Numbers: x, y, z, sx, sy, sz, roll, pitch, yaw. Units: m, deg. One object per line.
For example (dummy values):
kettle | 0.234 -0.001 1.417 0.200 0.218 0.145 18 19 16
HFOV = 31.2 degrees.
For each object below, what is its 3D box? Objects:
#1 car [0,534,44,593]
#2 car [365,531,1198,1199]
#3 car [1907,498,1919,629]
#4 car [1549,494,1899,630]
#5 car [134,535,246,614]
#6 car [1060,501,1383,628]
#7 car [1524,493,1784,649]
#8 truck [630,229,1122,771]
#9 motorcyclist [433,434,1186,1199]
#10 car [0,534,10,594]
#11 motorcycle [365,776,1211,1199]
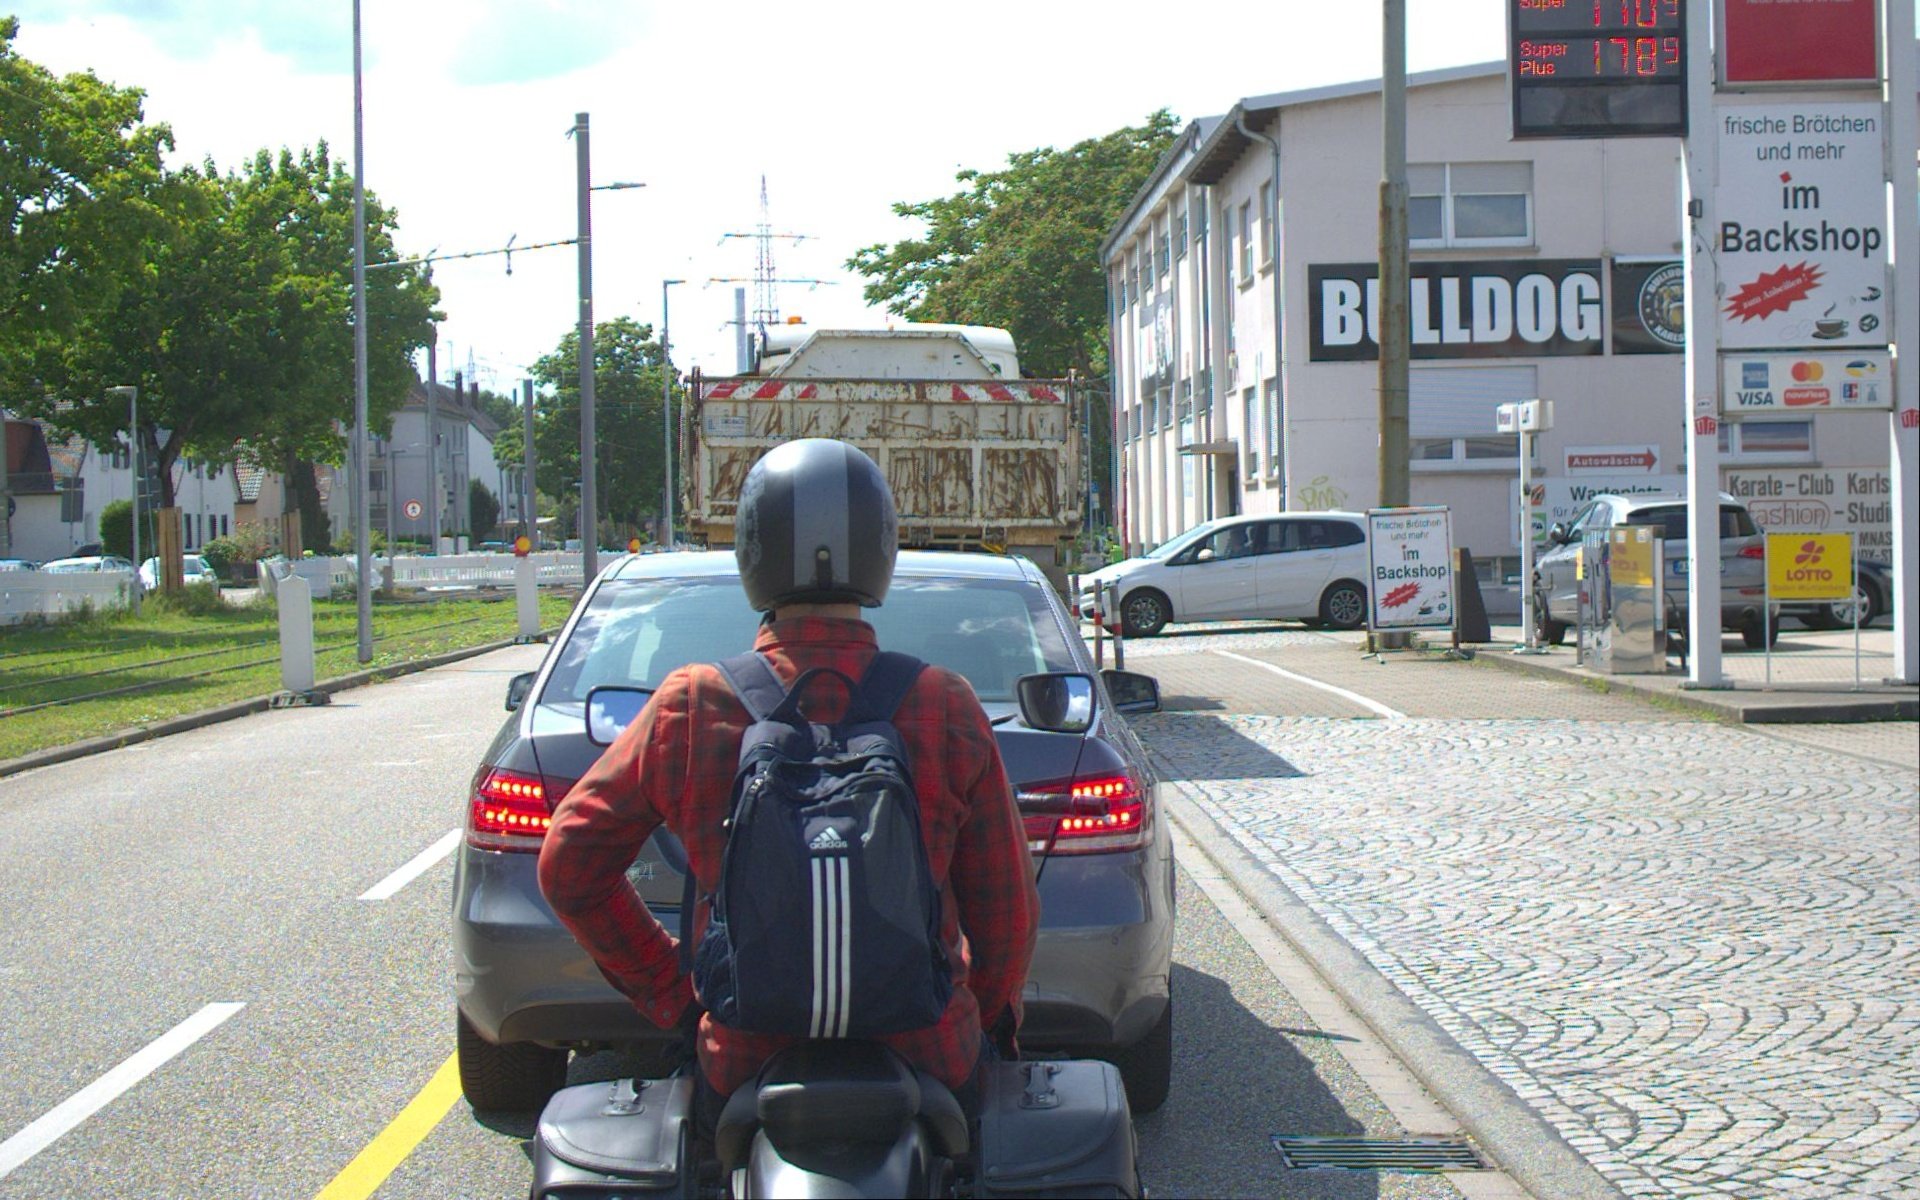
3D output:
car | -29.267 -1.103 104.585 1.698 1.733 4.062 -1 1 0
car | -0.454 0.569 9.719 1.832 1.474 4.010 -1 1 -2
car | 11.788 -0.397 37.240 1.832 1.474 4.010 -1 1 -2
car | 9.731 -0.496 43.983 4.105 1.619 1.686 -1 1 2
car | -17.784 -0.612 79.552 1.698 1.733 3.860 -1 1 0
car | 3.549 -0.496 47.028 4.104 1.619 1.686 -1 1 -8
car | 7.324 -0.337 36.642 1.832 1.530 4.010 -1 1 -2
truck | -0.635 -0.713 25.466 2.970 3.293 8.408 -1 1 -2
motorcyclist | -0.206 0.589 5.082 0.969 1.627 1.215 1 1 -1
car | -28.671 -0.992 98.575 1.698 1.733 4.062 -1 1 0
motorcycle | -0.217 0.864 5.205 0.976 1.010 2.432 1 1 -1
